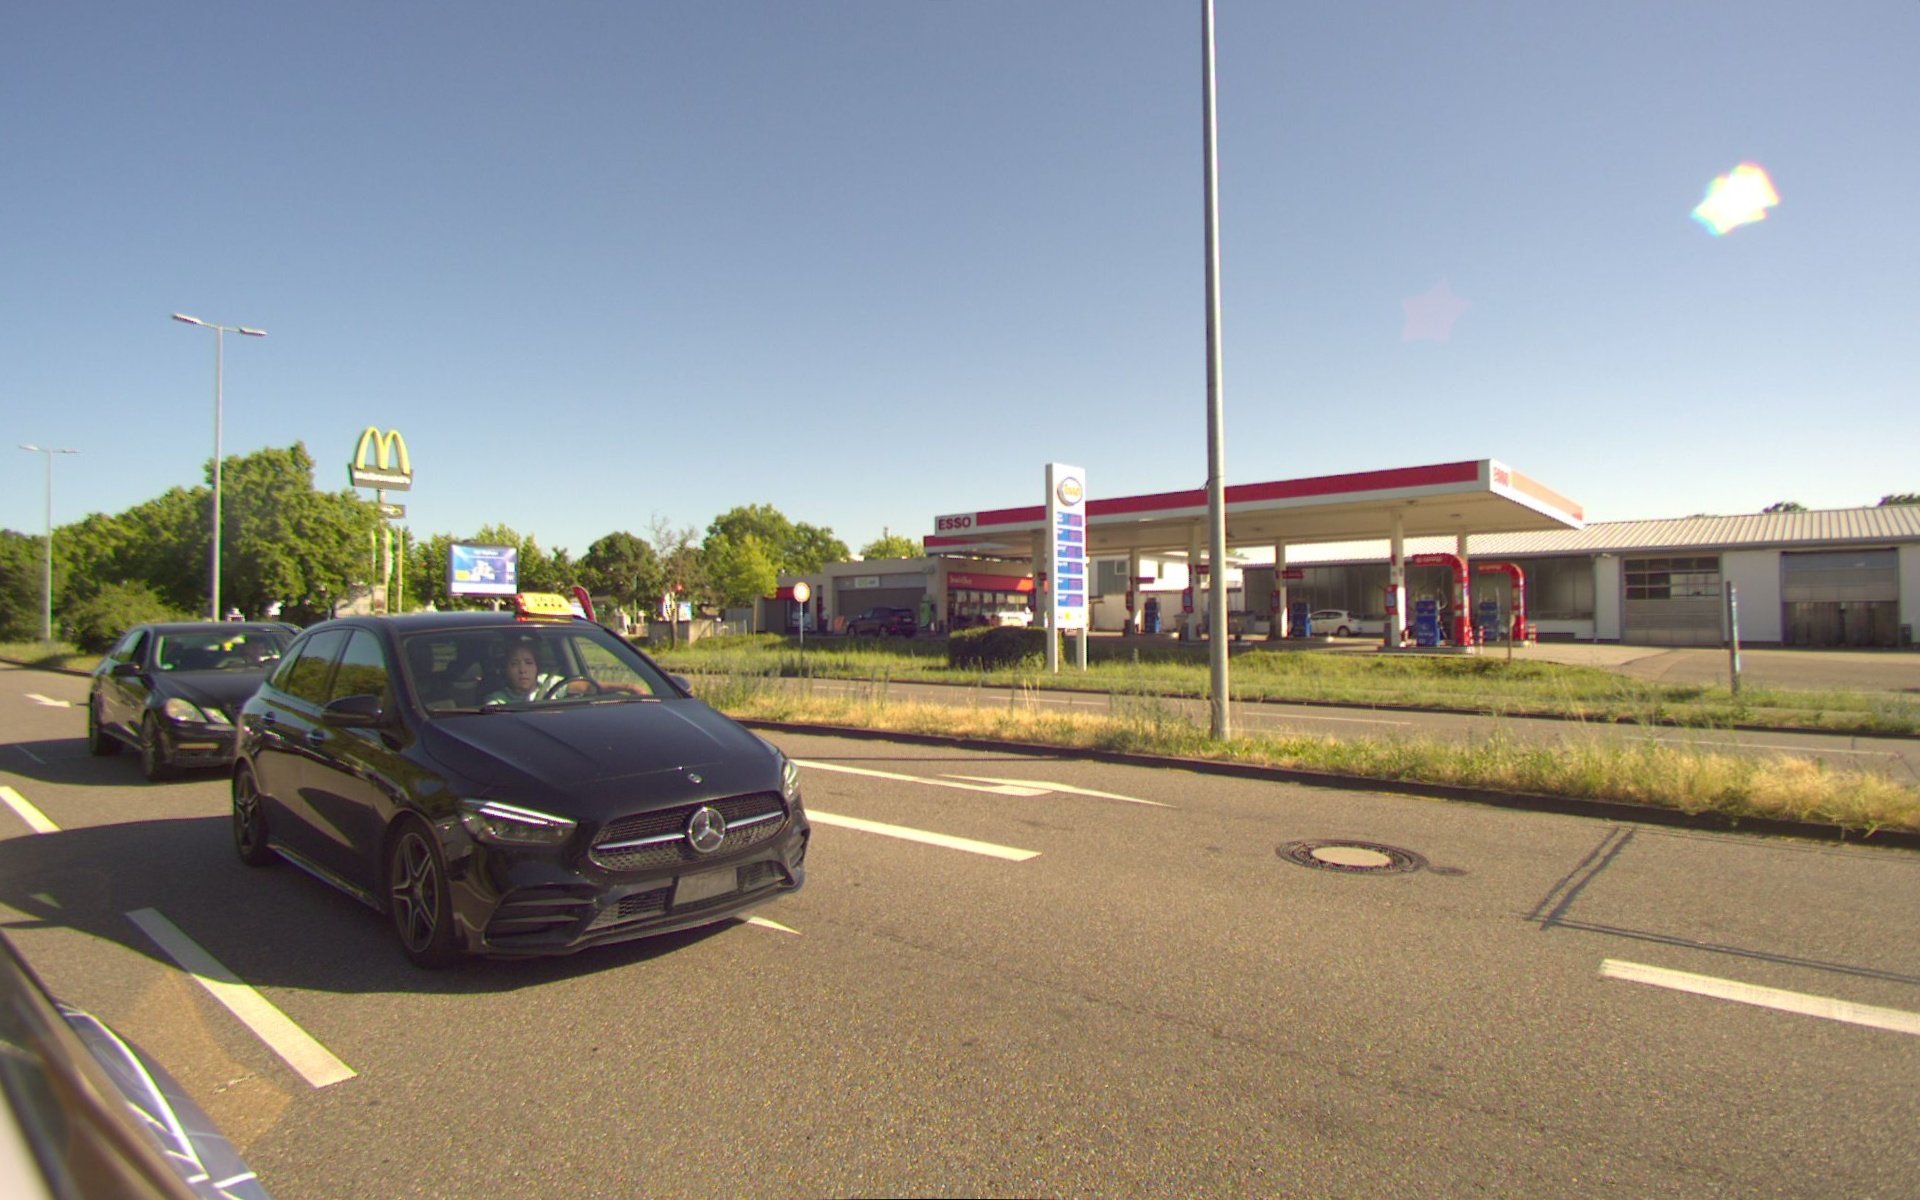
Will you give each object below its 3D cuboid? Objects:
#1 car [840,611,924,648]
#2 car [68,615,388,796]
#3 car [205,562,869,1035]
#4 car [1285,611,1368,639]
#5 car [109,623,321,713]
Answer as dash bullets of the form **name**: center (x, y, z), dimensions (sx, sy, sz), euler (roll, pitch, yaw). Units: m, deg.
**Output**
- **car**: center (-3.953, 1.467, 50.798), dimensions (4.117, 1.783, 1.972), euler (-2, -2, 43)
- **car**: center (-7.924, 0.955, 10.798), dimensions (4.401, 1.535, 1.838), euler (-2, -2, 41)
- **car**: center (-2.580, 0.742, 5.594), dimensions (4.187, 1.638, 1.780), euler (-2, -2, 42)
- **car**: center (19.841, 1.345, 54.861), dimensions (3.844, 1.450, 1.730), euler (-2, -2, 39)
- **car**: center (-13.689, 1.169, 18.533), dimensions (4.393, 1.440, 1.841), euler (-1, -2, 35)
